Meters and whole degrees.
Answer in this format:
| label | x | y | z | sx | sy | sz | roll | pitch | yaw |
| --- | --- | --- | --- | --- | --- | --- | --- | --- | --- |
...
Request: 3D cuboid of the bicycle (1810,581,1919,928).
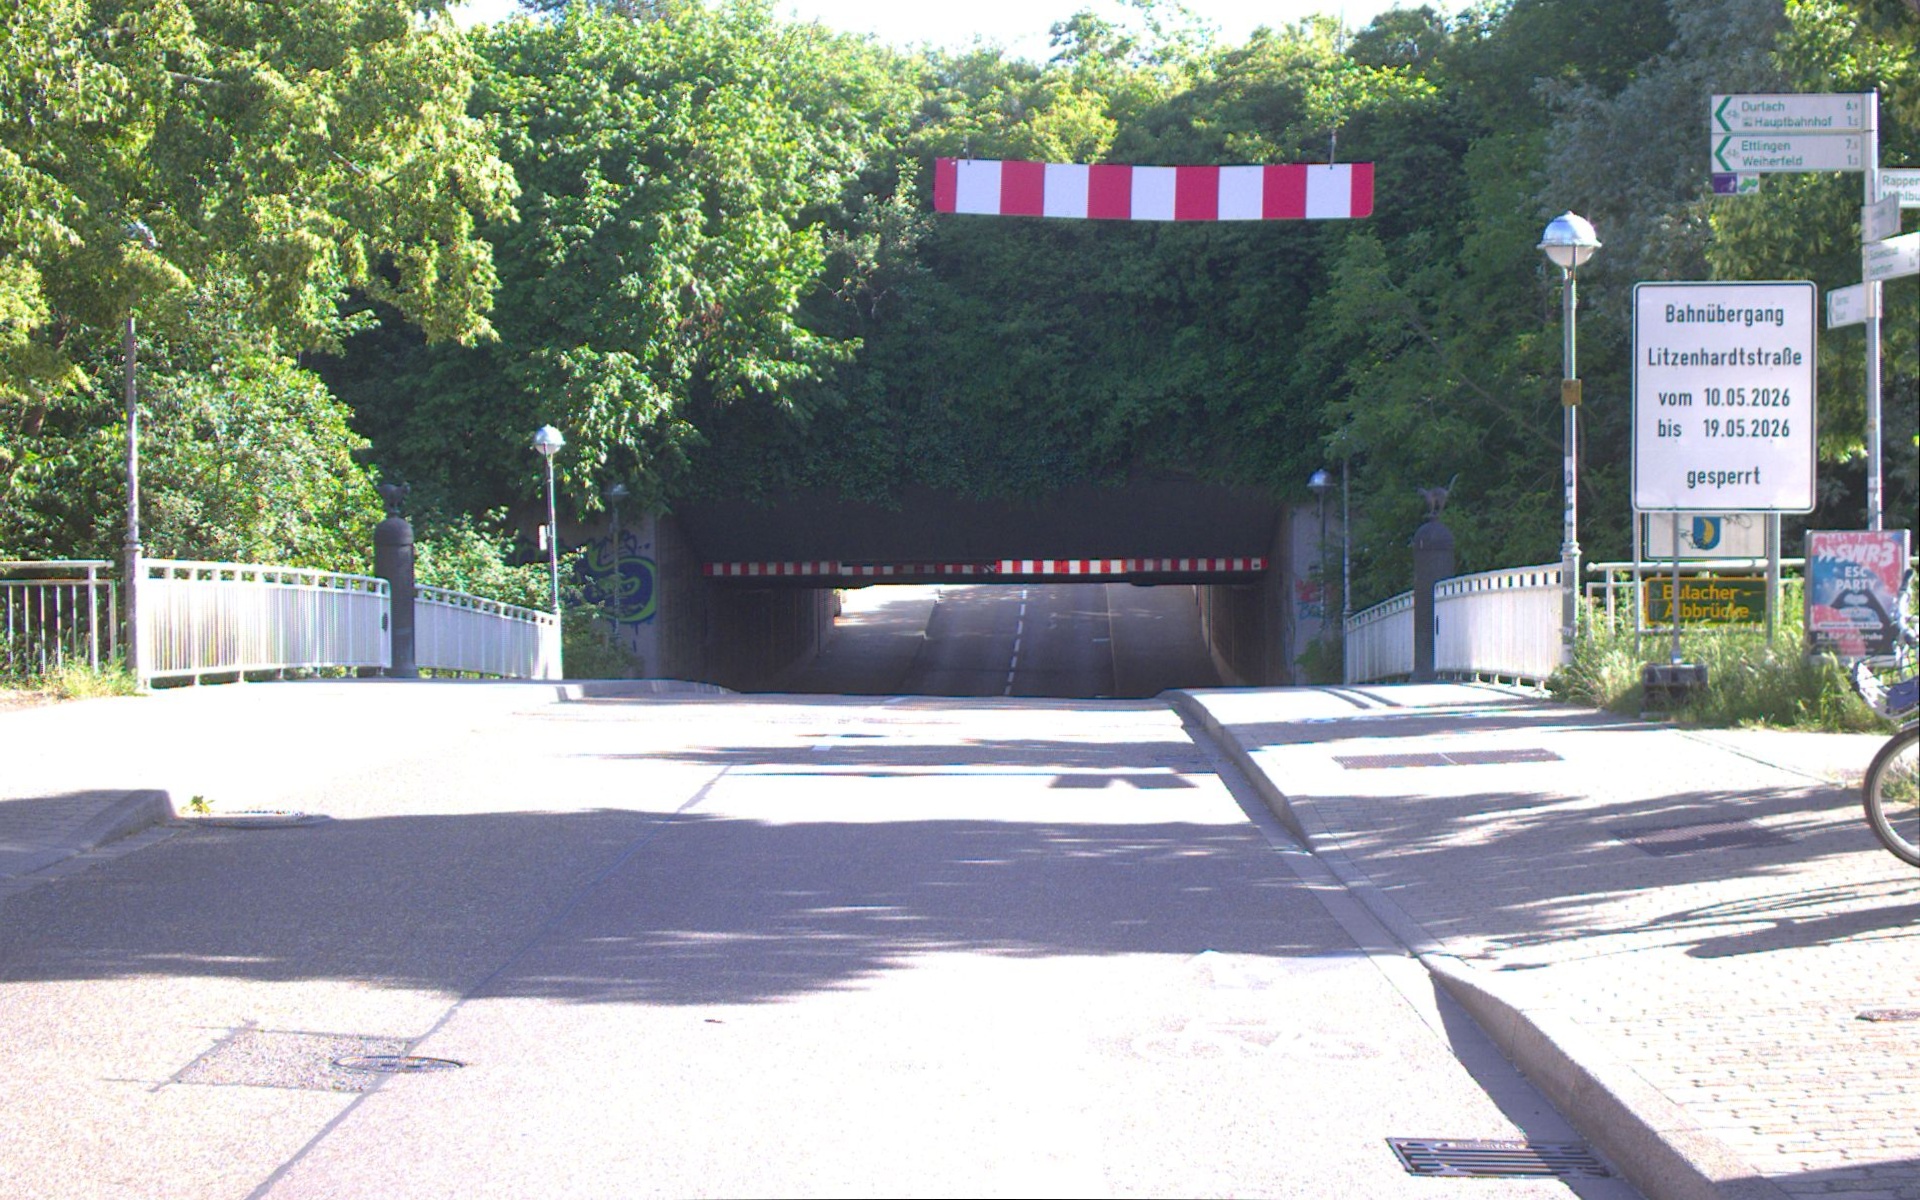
| label | x | y | z | sx | sy | sz | roll | pitch | yaw |
| --- | --- | --- | --- | --- | --- | --- | --- | --- | --- |
| bicycle | 3.635 | 0.527 | 12.354 | 0.688 | 1.153 | 1.539 | -5 | 1 | 0 |
